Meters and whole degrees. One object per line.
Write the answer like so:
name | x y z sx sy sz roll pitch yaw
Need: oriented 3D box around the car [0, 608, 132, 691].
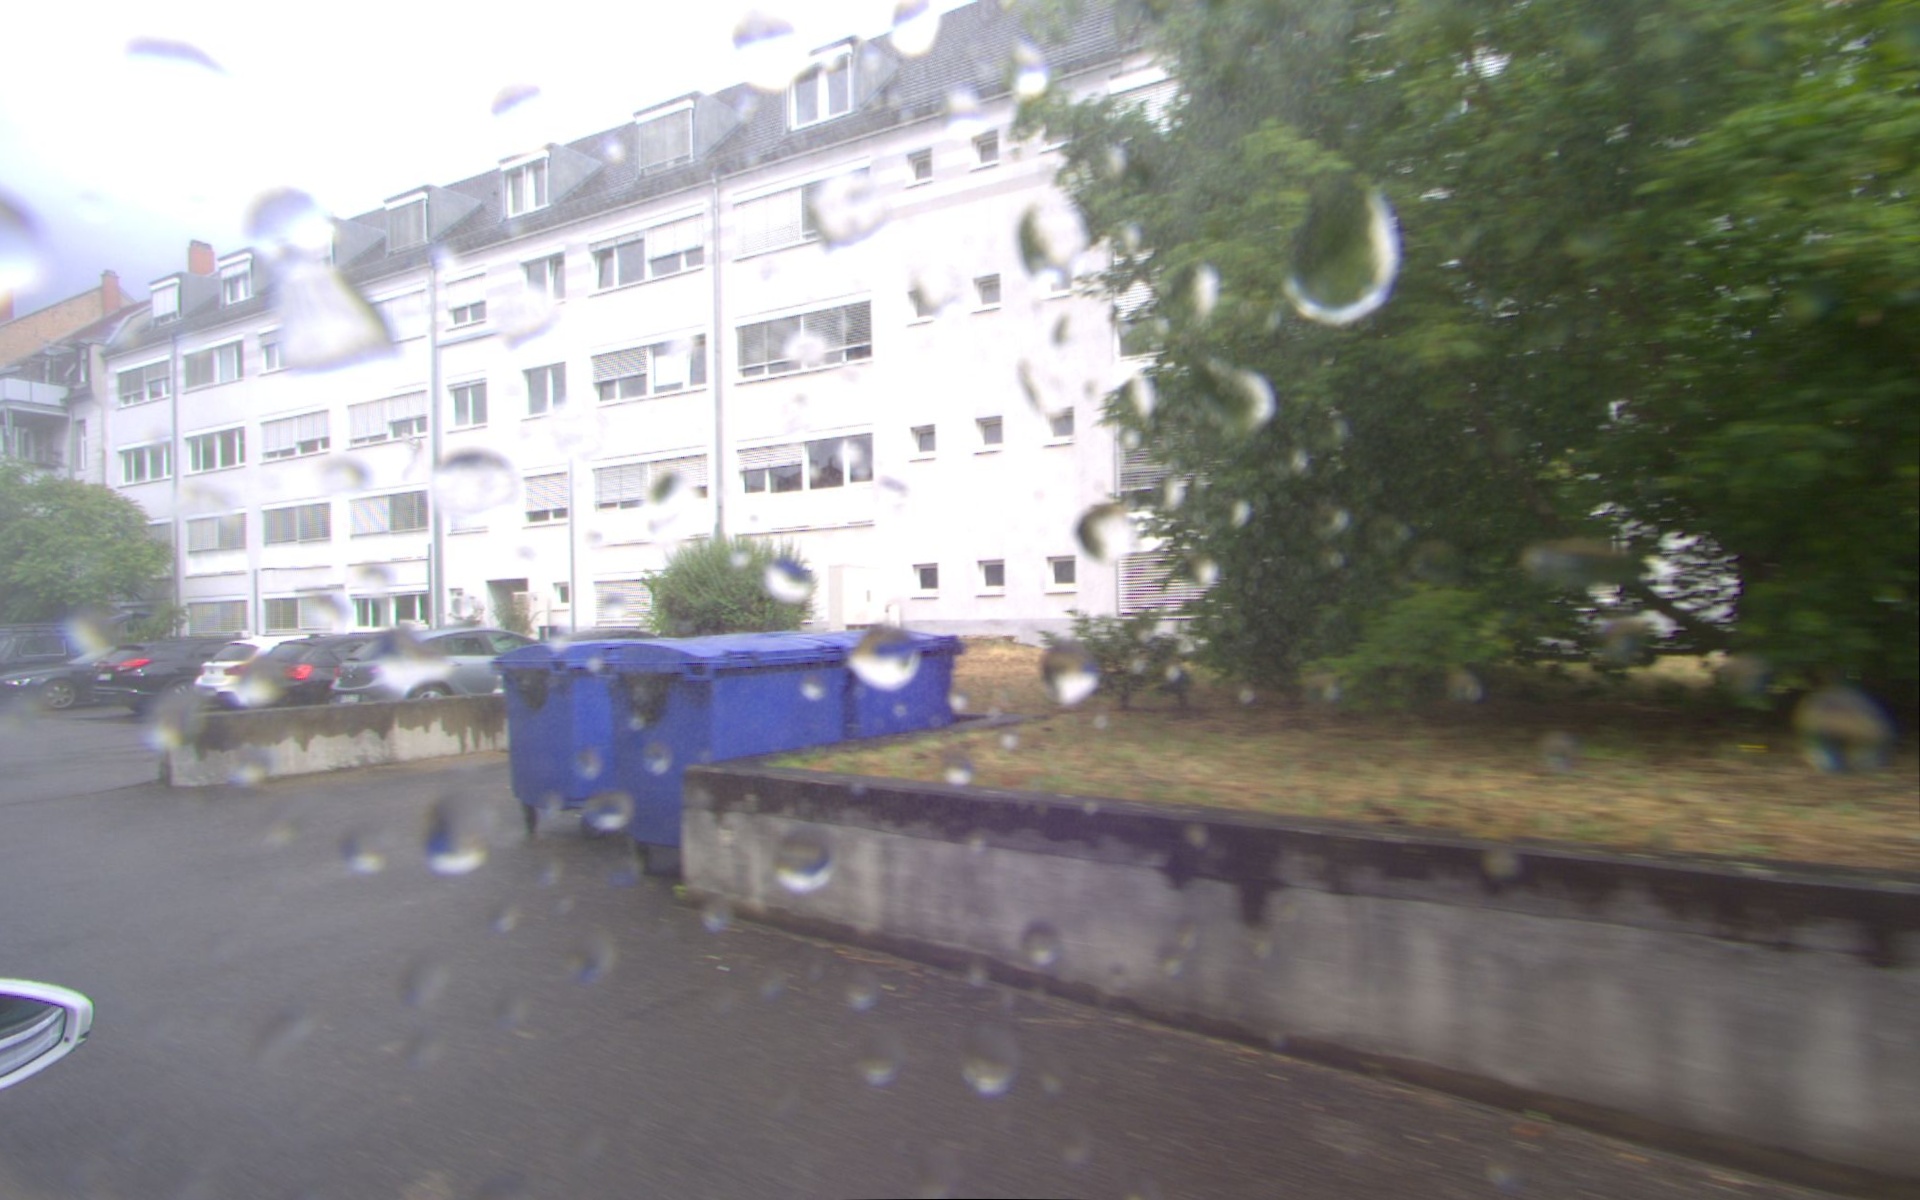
car | -24.525 1.257 25.638 2.188 2.030 4.636 -1 0 23

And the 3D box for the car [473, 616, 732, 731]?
car | -5.334 1.041 15.311 1.664 1.445 3.408 -2 0 31

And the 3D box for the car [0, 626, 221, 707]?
car | -19.335 1.429 22.600 1.725 1.533 3.904 -2 0 29

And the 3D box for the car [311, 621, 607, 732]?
car | -7.999 1.135 16.351 1.780 1.464 3.980 -1 0 30

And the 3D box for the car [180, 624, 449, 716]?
car | -12.191 1.256 19.188 1.746 1.477 3.983 -2 -1 28

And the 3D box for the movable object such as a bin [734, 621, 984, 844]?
movable object such as a bin | -0.689 0.846 7.072 1.181 1.354 1.288 -2 0 36

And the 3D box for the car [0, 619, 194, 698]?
car | -21.723 1.396 24.852 1.791 1.709 3.900 -2 0 32

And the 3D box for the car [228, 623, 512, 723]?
car | -10.233 1.189 17.691 1.746 1.422 3.982 -1 0 29

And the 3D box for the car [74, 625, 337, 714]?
car | -15.309 1.346 20.555 1.791 1.533 3.907 -2 0 26

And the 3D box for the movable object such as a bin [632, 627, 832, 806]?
movable object such as a bin | -1.887 0.906 8.361 1.092 1.321 1.182 -2 0 35

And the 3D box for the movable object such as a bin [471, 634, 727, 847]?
movable object such as a bin | -2.587 0.930 7.268 1.069 1.321 1.367 -2 0 36

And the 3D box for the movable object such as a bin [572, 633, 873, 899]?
movable object such as a bin | -1.376 0.876 5.936 1.081 1.309 1.333 -2 -1 36
